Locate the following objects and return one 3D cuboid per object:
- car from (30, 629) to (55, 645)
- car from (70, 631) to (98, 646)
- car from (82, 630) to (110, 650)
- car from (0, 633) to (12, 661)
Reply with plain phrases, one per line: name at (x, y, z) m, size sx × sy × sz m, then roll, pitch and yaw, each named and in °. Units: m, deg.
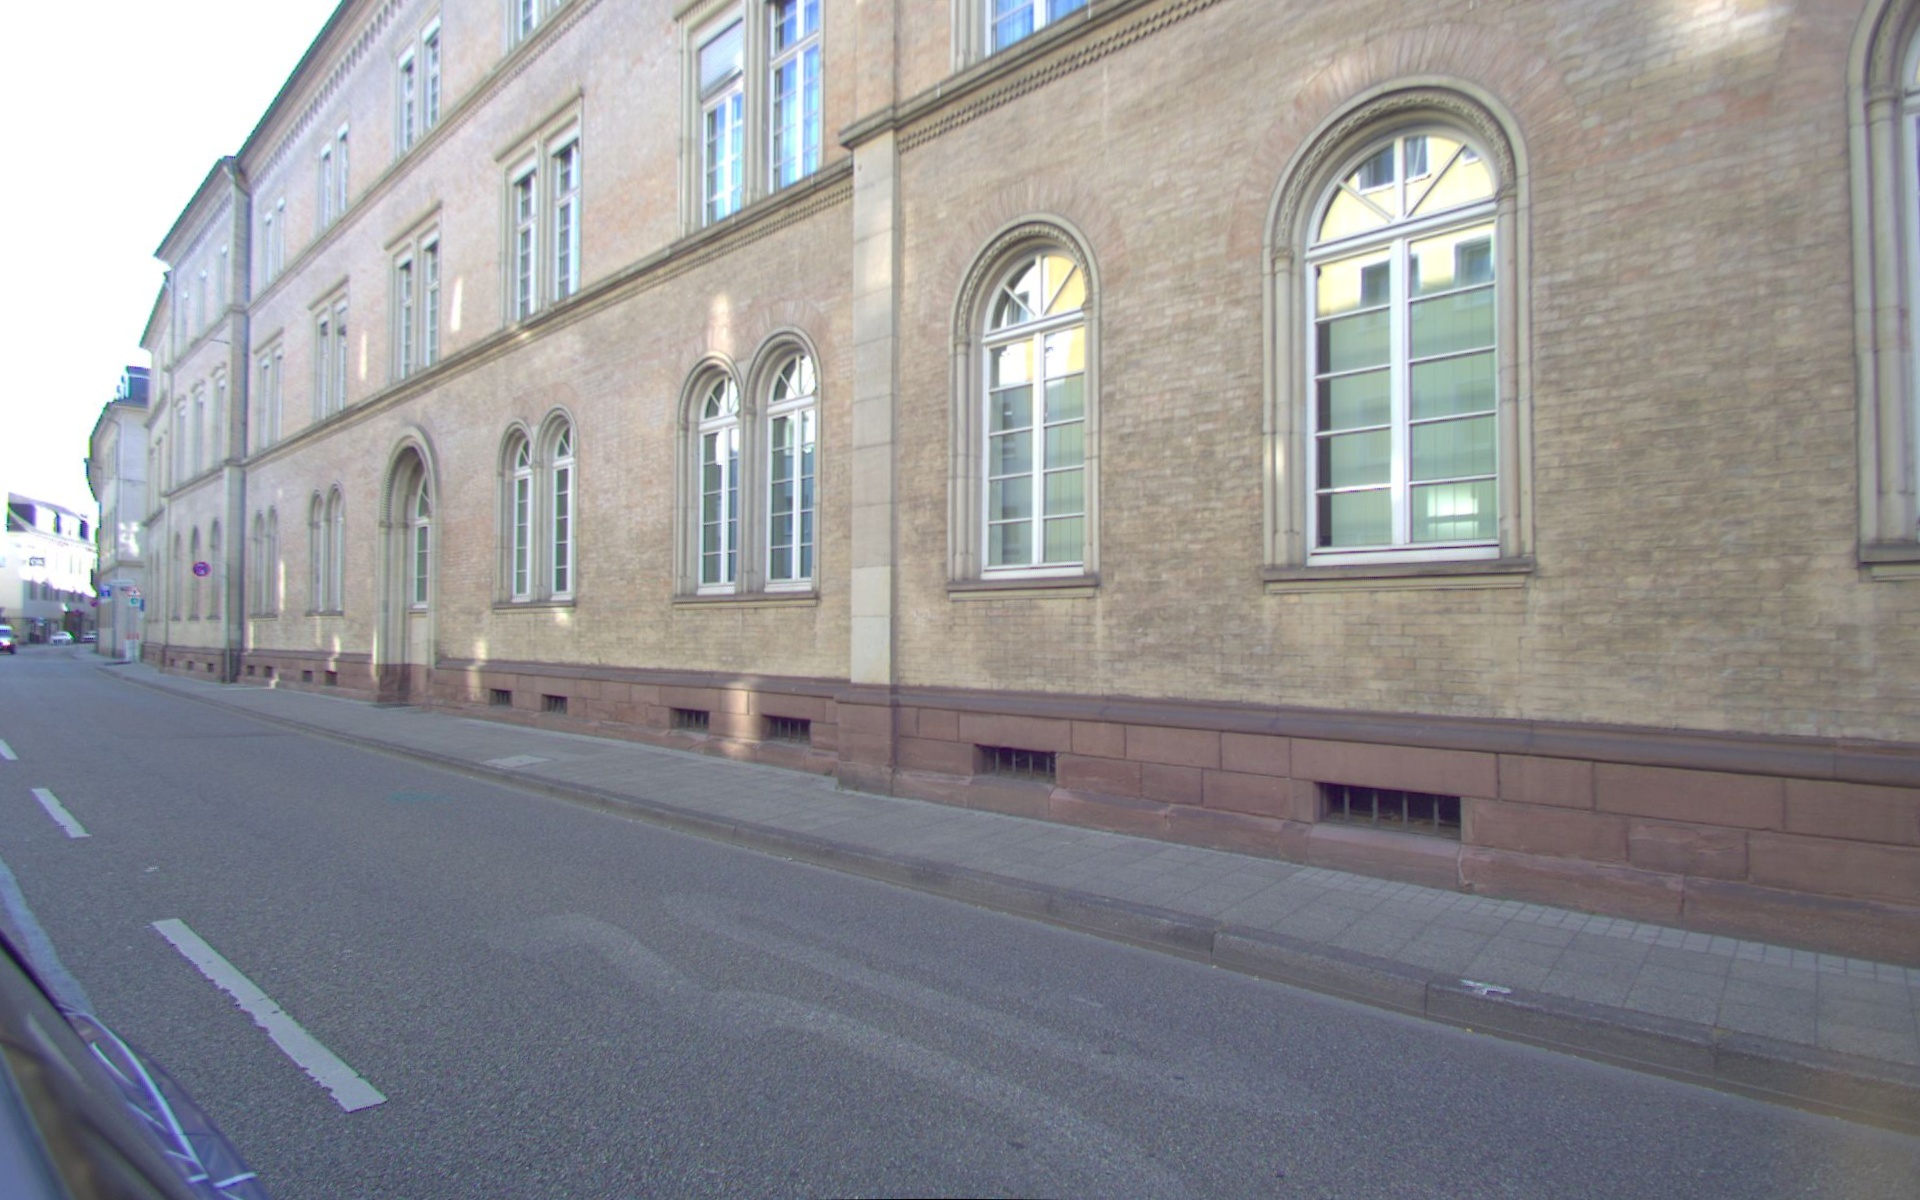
car at (-102.443, 4.137, 112.988) m, size 1.511 × 1.737 × 3.749 m, roll 1°, pitch -2°, yaw -34°
car at (-109.370, 4.802, 126.447) m, size 1.896 × 1.737 × 4.242 m, roll 1°, pitch -2°, yaw -31°
car at (-80.192, 3.706, 93.954) m, size 1.638 × 1.737 × 3.748 m, roll 1°, pitch -2°, yaw -36°
car at (-61.060, 2.933, 63.755) m, size 1.895 × 1.735 × 4.965 m, roll 2°, pitch -3°, yaw -43°
